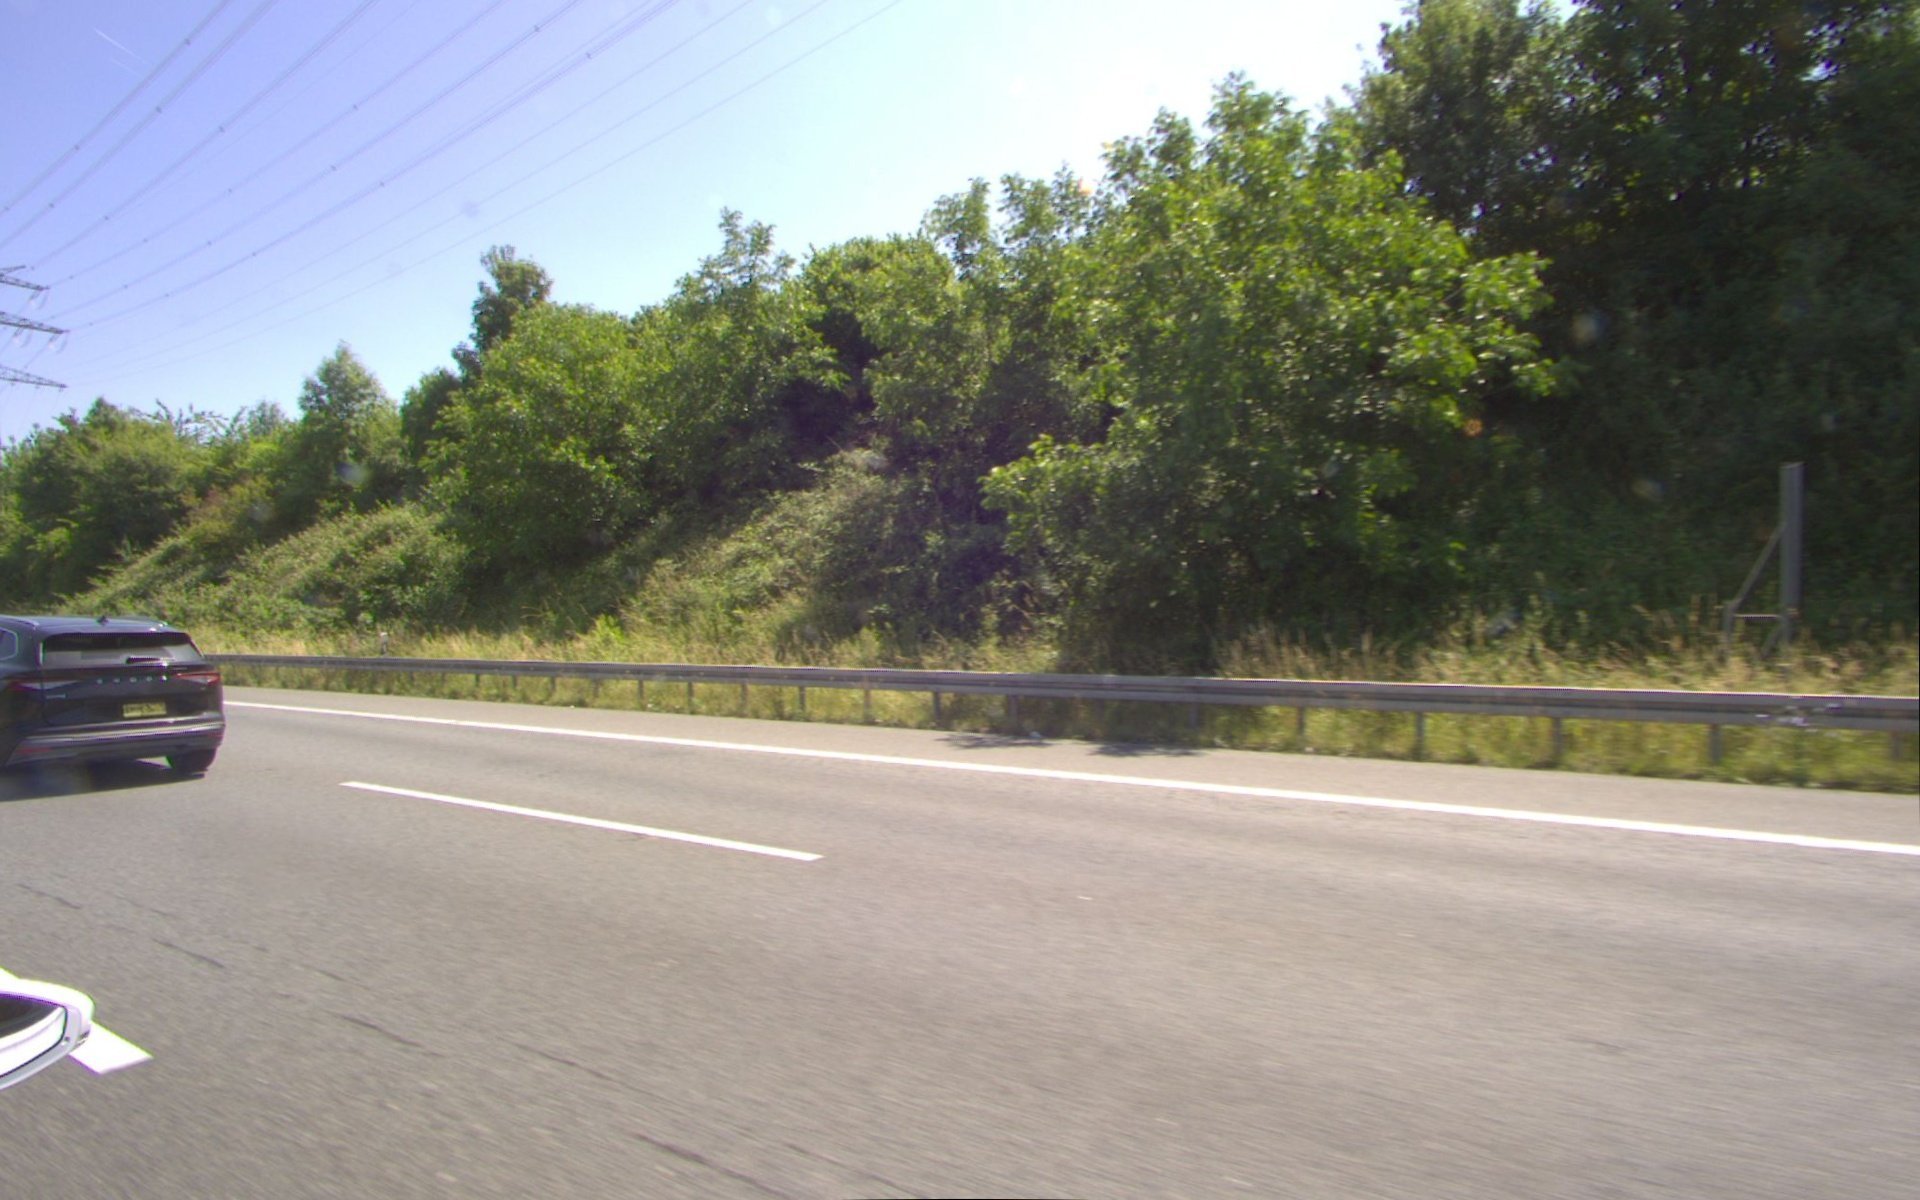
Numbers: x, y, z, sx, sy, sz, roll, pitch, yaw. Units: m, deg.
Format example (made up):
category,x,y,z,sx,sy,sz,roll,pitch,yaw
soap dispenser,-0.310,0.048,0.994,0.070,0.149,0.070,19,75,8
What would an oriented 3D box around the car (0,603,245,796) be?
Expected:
category,x,y,z,sx,sy,sz,roll,pitch,yaw
car,-9.486,0.892,10.442,4.368,1.635,1.825,-1,-1,33
